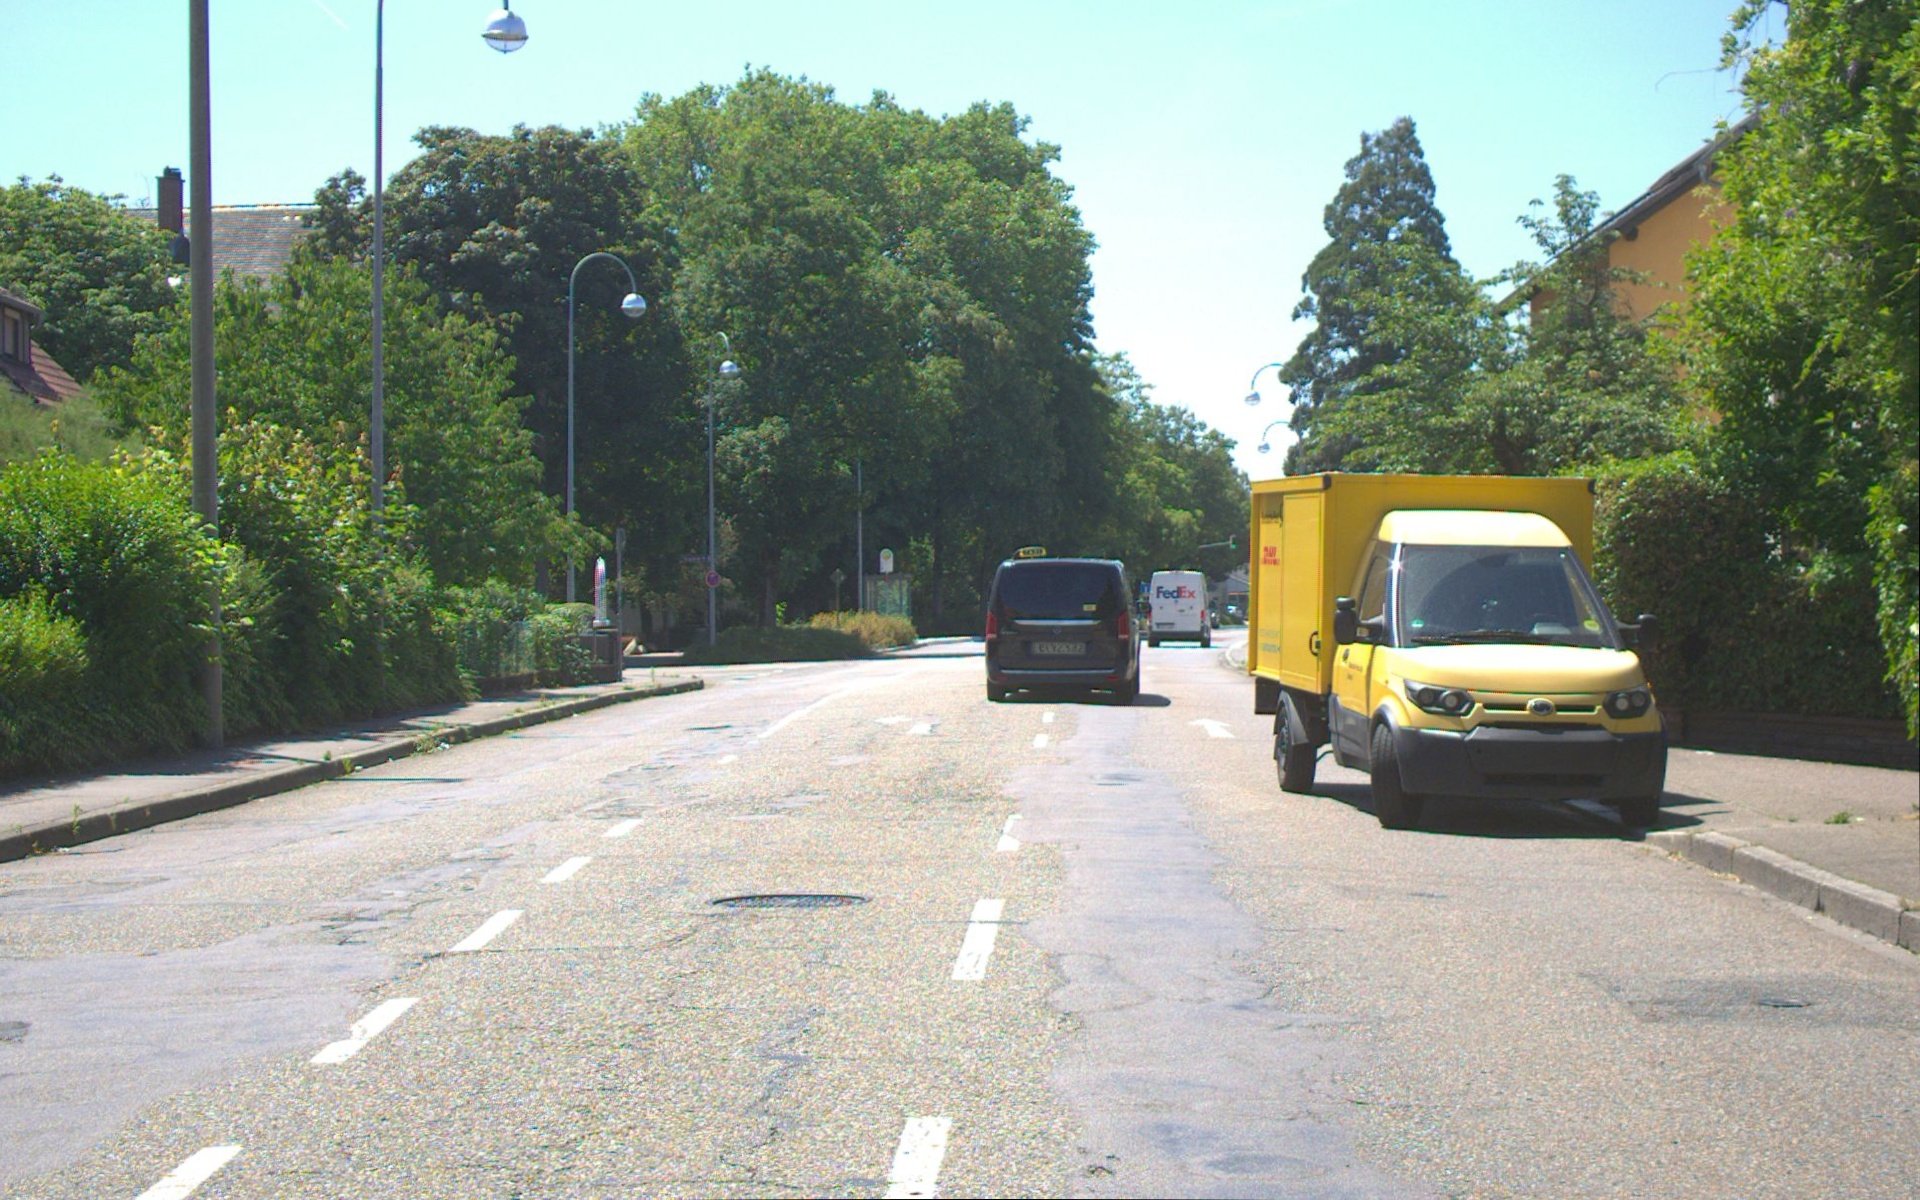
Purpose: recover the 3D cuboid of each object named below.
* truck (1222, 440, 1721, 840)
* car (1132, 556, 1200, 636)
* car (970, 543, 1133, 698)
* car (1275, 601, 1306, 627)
[{"bbox_3d":[3.258,0.206,23.370,2.013,2.301,6.177,2,1,-4],"label":"truck"},{"bbox_3d":[7.112,-0.159,118.266,2.120,2.669,5.661,1,1,5],"label":"car"},{"bbox_3d":[1.232,0.233,44.611,1.994,1.887,4.000,1,1,3],"label":"car"},{"bbox_3d":[21.654,0.932,225.272,1.858,1.637,3.999,1,1,4],"label":"car"}]
